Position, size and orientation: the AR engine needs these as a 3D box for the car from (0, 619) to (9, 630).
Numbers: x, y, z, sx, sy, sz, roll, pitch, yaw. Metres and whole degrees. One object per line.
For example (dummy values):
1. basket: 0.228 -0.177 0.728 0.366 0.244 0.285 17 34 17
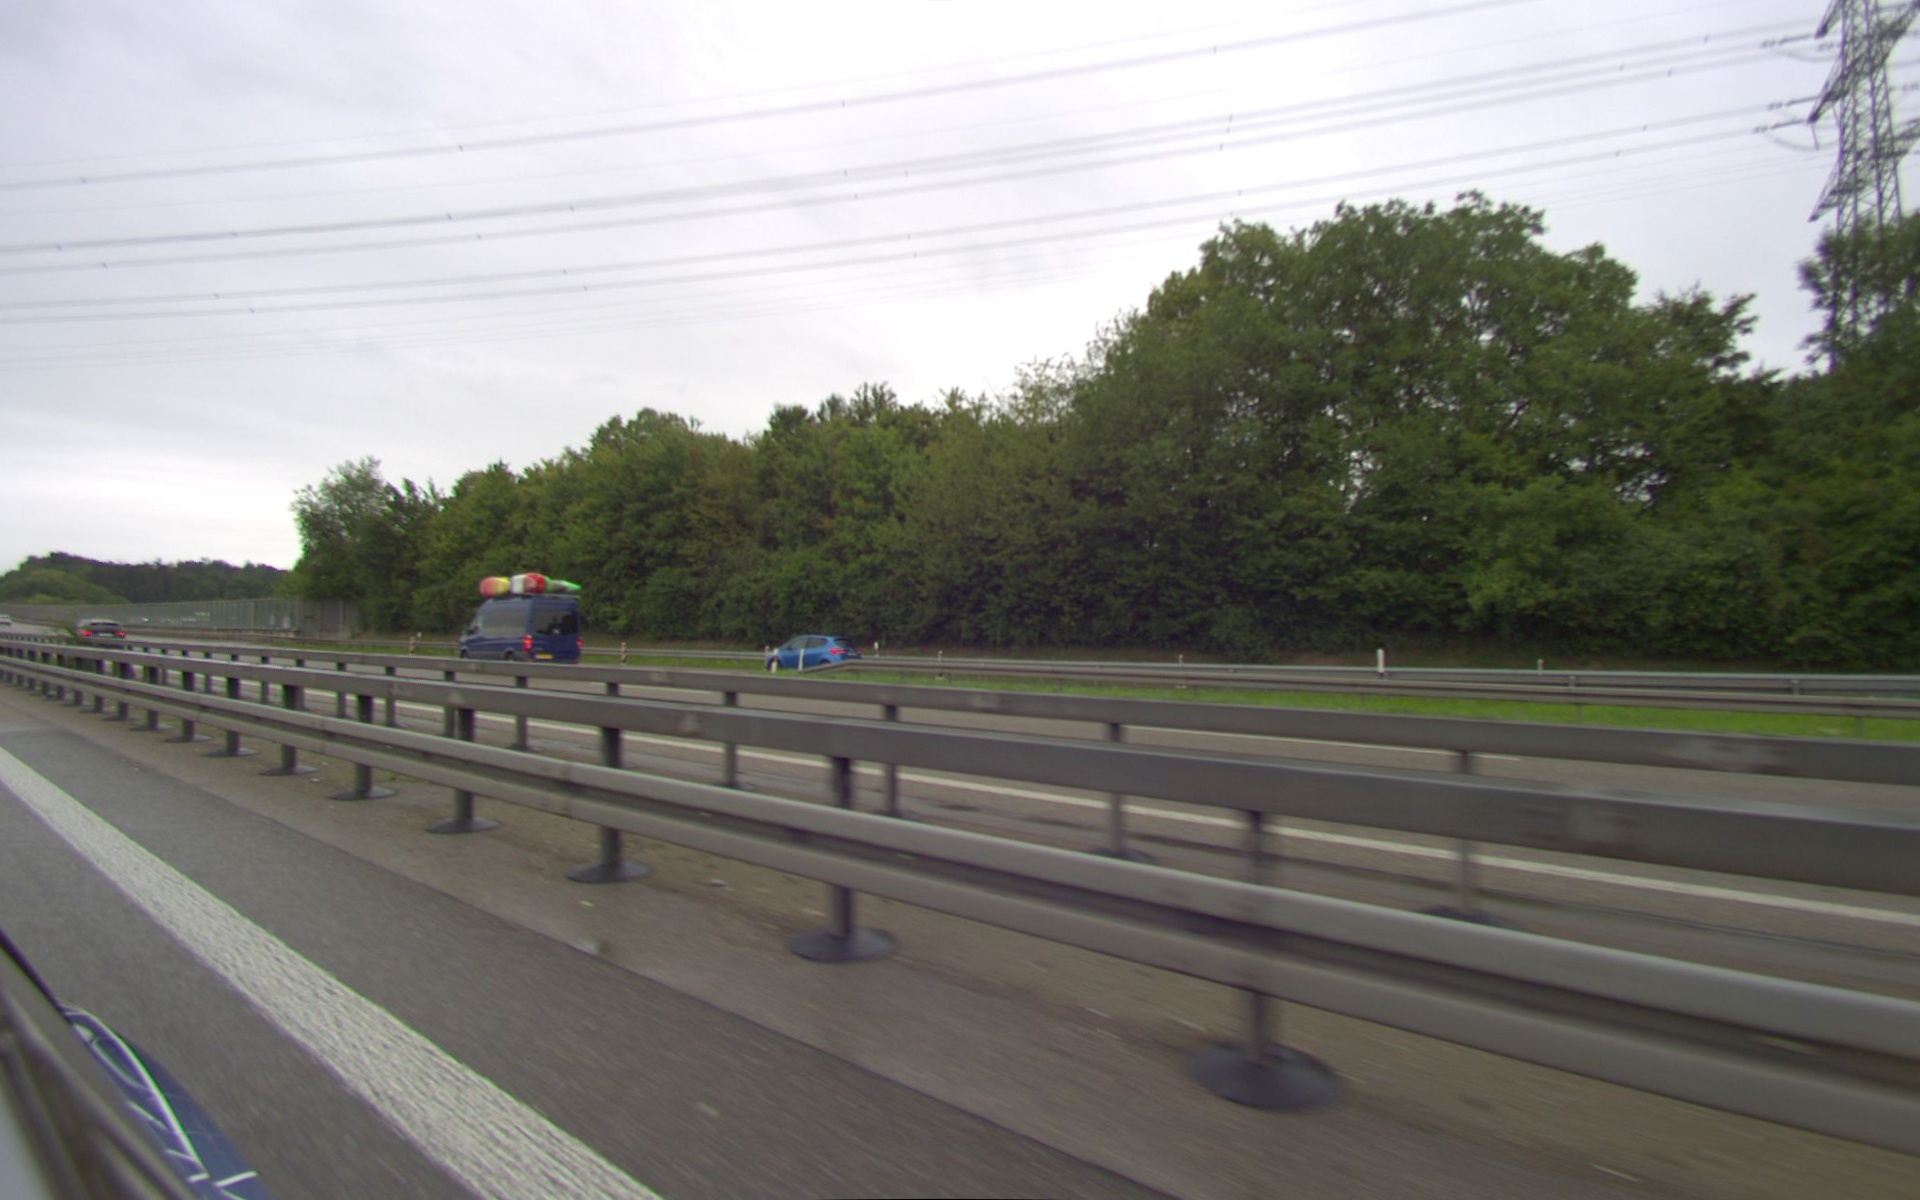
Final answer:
1. car: -165.376 4.211 174.248 4.914 1.833 1.928 -1 -2 41

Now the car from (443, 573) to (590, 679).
1. car: -15.432 0.906 35.037 6.173 3.353 2.230 -1 -3 41

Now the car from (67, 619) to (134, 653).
1. car: -44.081 1.815 51.885 4.788 1.668 1.903 -1 -3 41

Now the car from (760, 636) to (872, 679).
1. car: -5.605 2.199 39.290 3.986 1.555 1.953 -1 -2 31
